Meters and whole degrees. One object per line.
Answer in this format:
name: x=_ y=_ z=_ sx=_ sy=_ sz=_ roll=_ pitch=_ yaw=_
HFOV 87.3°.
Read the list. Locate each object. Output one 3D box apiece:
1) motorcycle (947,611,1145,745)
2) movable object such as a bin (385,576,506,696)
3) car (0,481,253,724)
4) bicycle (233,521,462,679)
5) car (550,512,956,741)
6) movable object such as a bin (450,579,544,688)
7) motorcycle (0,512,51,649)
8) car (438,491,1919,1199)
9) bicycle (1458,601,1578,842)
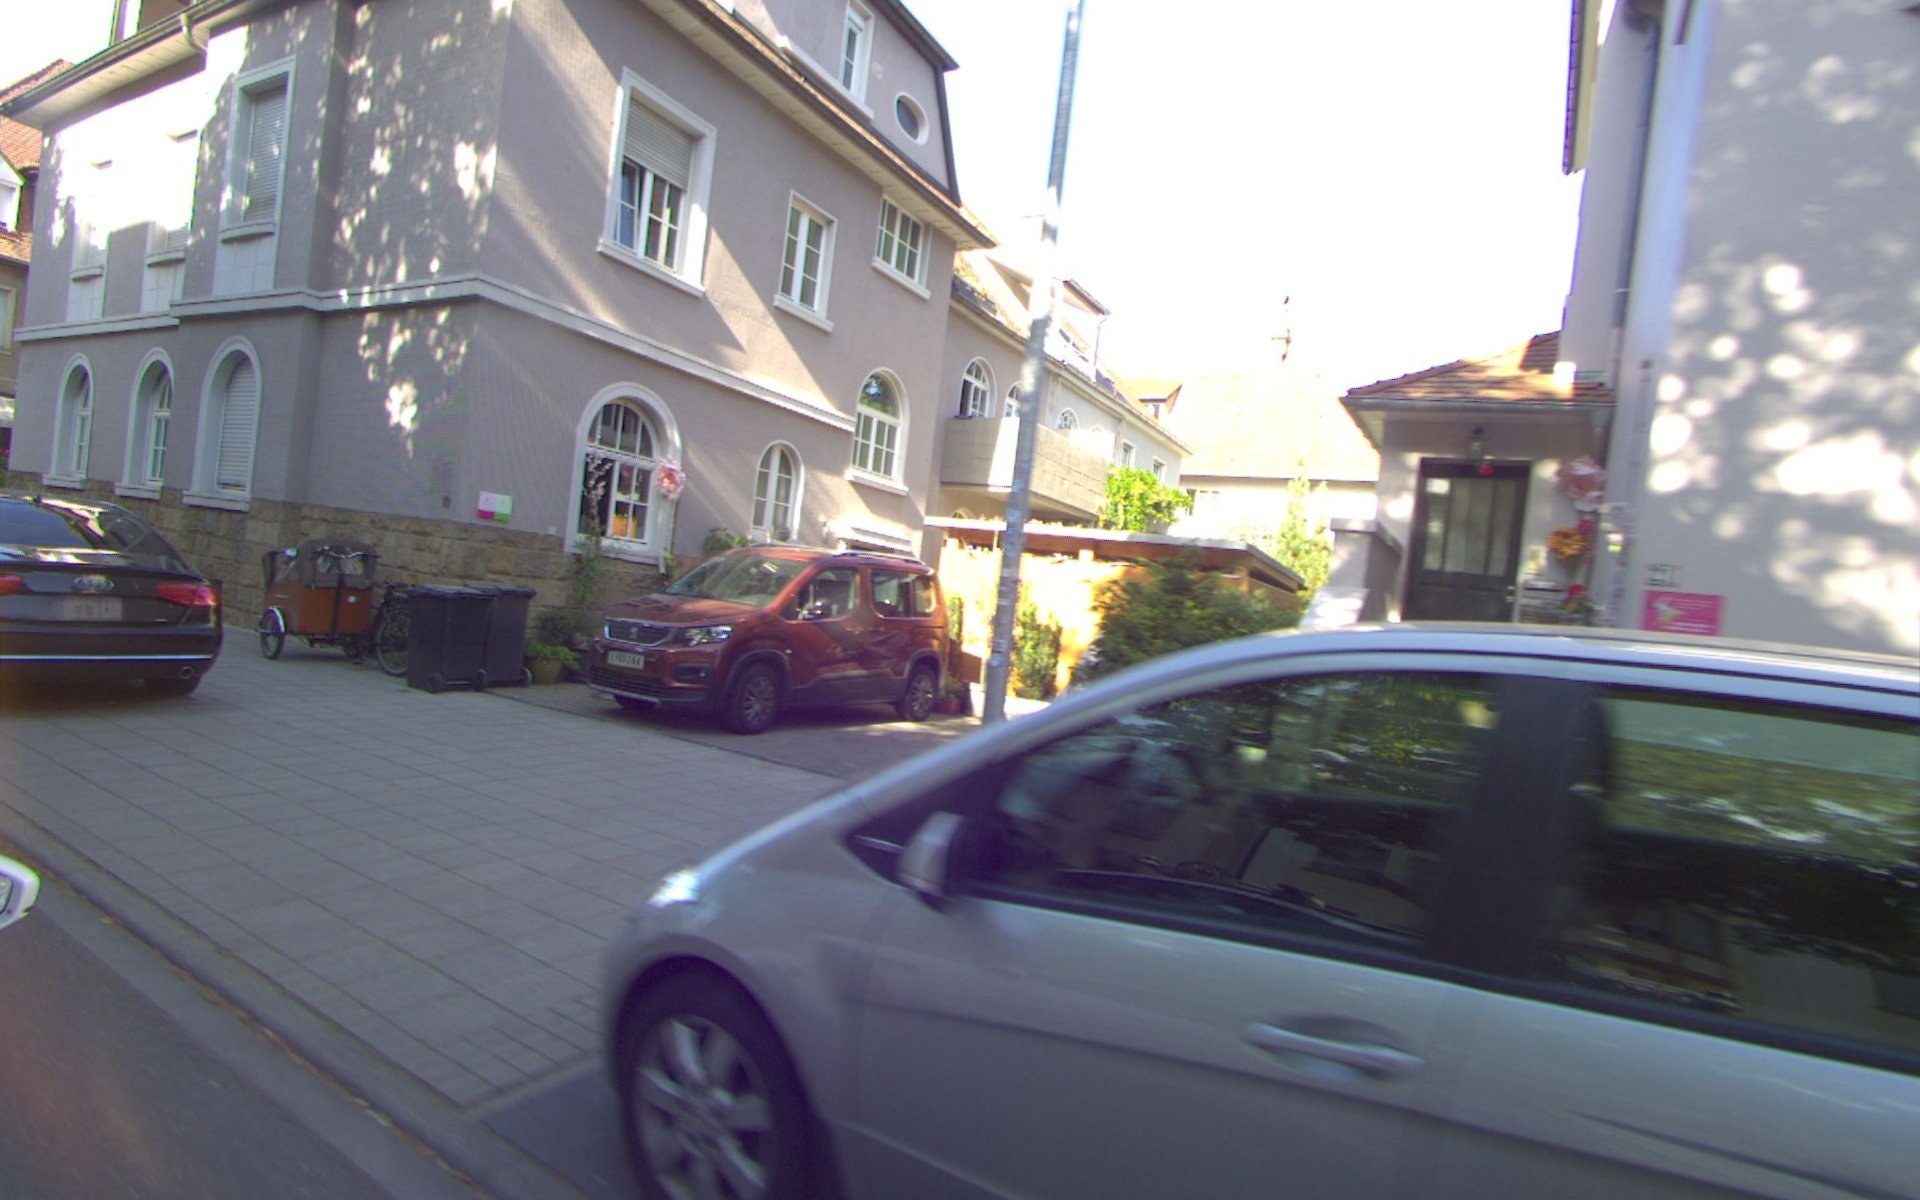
motorcycle: x=1.050 y=0.930 z=12.253 sx=2.128 sy=1.295 sz=0.789 roll=7 pitch=-1 yaw=20
movable object such as a bin: x=-5.053 y=0.353 z=9.888 sx=0.814 sy=1.053 sz=0.648 roll=7 pitch=2 yaw=30
car: x=-7.647 y=-0.180 z=7.899 sx=4.533 sy=1.512 sz=1.854 roll=7 pitch=2 yaw=34
bicycle: x=-6.449 y=-0.013 z=10.561 sx=2.213 sy=1.355 sz=1.083 roll=7 pitch=1 yaw=32
car: x=-1.946 y=0.304 z=10.716 sx=1.736 sy=1.866 sz=4.142 roll=6 pitch=0 yaw=32
movable object such as a bin: x=-4.861 y=0.352 z=10.565 sx=0.607 sy=1.053 sz=0.569 roll=7 pitch=2 yaw=30
motorcycle: x=-10.727 y=-0.353 z=10.010 sx=2.170 sy=1.354 sz=0.917 roll=9 pitch=-1 yaw=-19
car: x=0.773 y=0.727 z=2.331 sx=3.936 sy=1.622 sz=1.788 roll=6 pitch=3 yaw=34
bicycle: x=3.103 y=0.635 z=5.591 sx=0.389 sy=1.114 sz=1.638 roll=7 pitch=0 yaw=30
